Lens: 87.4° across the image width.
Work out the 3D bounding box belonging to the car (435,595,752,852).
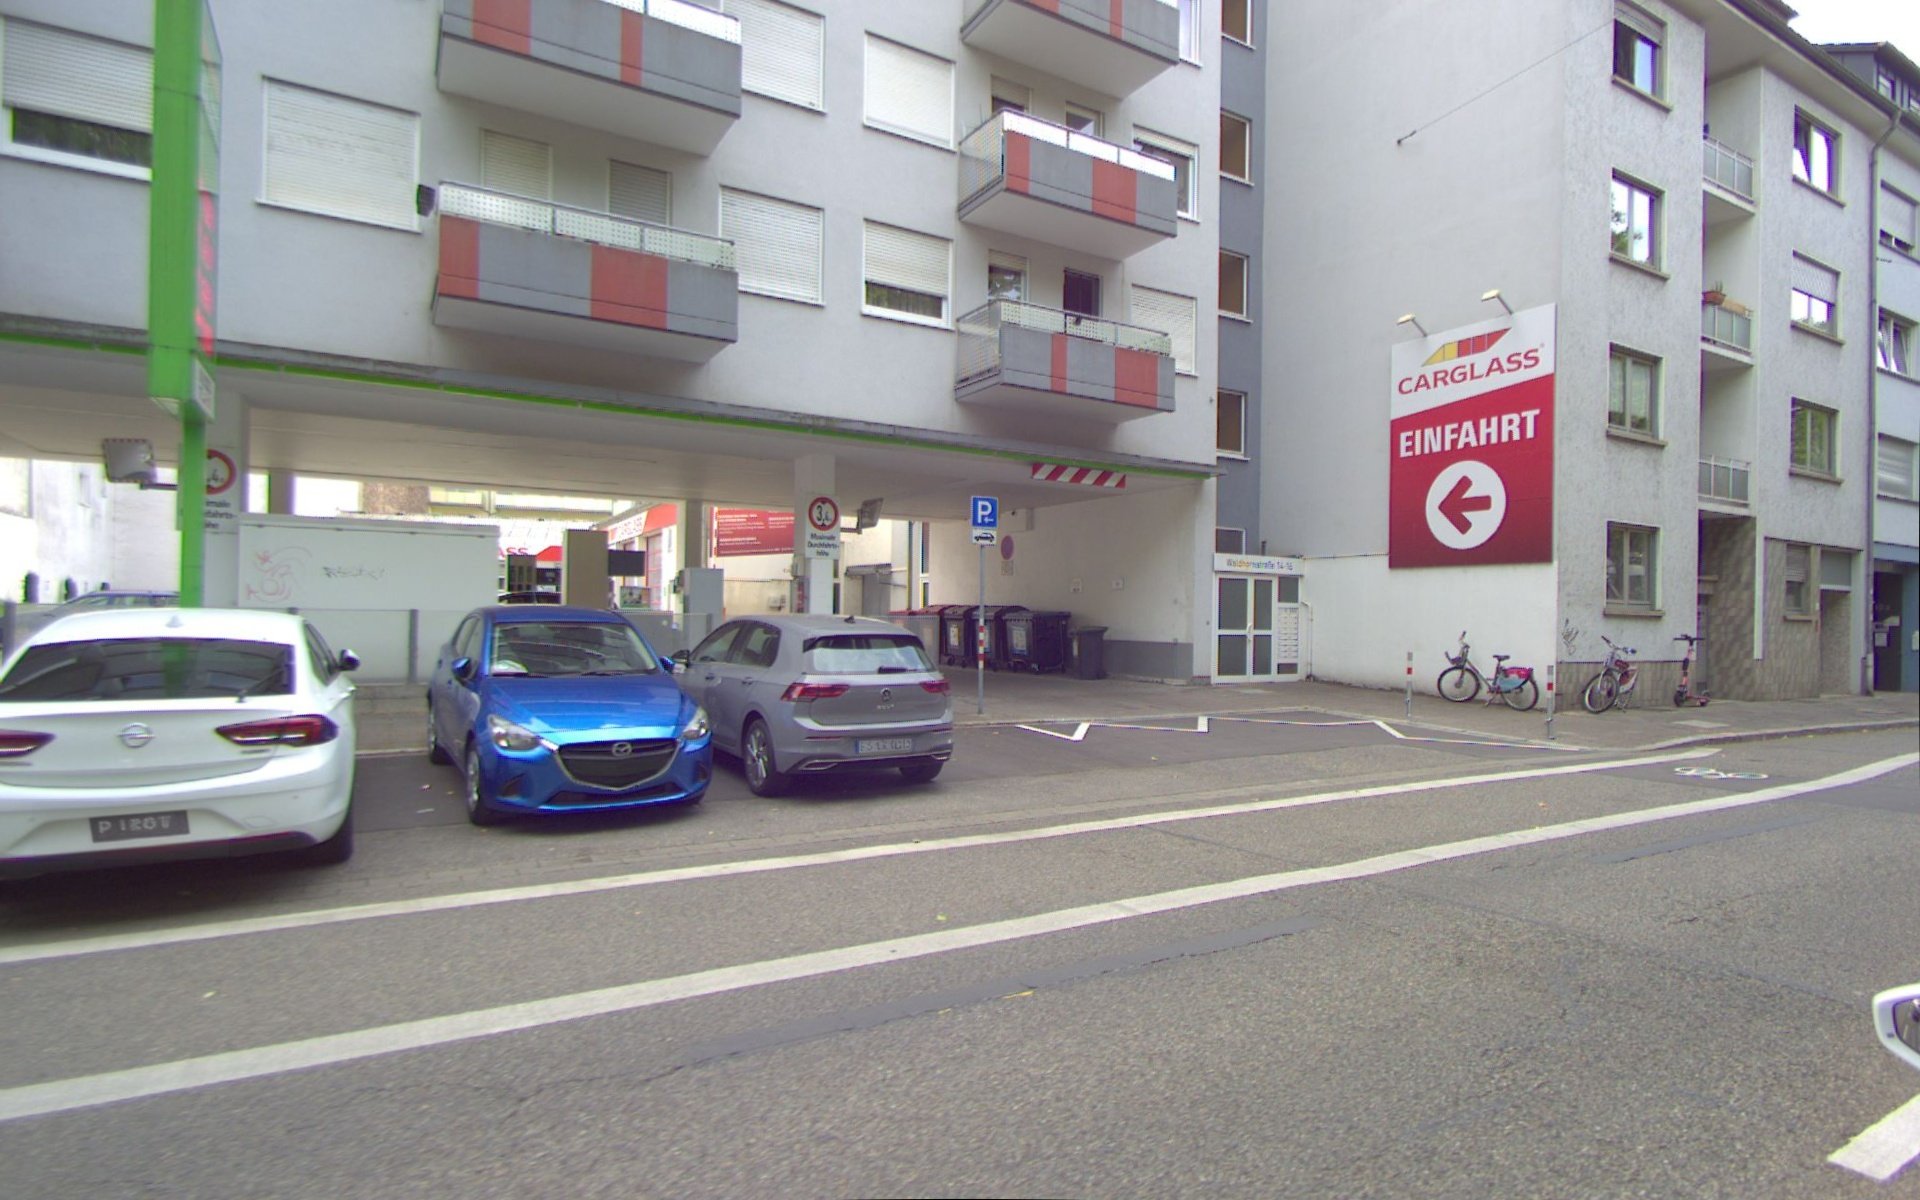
[{"bbox_3d":[-3.371,0.780,8.621,1.887,1.470,4.280,1,2,-29],"label":"car"}]

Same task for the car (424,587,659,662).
[{"bbox_3d":[-8.033,0.471,19.358,3.955,1.315,1.898,1,-1,-31],"label":"car"}]

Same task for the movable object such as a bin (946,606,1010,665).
[{"bbox_3d":[0.422,0.843,23.932,1.162,1.370,1.039,1,-1,-27],"label":"movable object such as a bin"}]

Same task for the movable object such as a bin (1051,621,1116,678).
[{"bbox_3d":[2.513,0.992,20.476,0.962,1.121,0.941,1,-1,-27],"label":"movable object such as a bin"}]

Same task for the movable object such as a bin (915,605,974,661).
[{"bbox_3d":[-0.396,0.824,25.227,1.162,1.370,1.039,1,-1,-27],"label":"movable object such as a bin"}]

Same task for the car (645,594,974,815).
[{"bbox_3d":[-1.693,0.791,9.809,1.815,1.534,4.131,1,2,-29],"label":"car"}]

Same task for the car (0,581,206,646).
[{"bbox_3d":[-21.890,0.345,25.376,4.317,1.542,1.830,1,0,-31],"label":"car"}]

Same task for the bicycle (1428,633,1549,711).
[{"bbox_3d":[8.581,1.143,16.387,0.448,1.132,1.763,1,0,-30],"label":"bicycle"}]

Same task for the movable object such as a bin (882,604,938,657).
[{"bbox_3d":[-1.334,0.803,26.763,1.162,1.370,1.039,1,-1,-27],"label":"movable object such as a bin"}]

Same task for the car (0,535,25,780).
[{"bbox_3d":[-7.392,0.483,5.845,1.901,1.873,4.191,1,2,-29],"label":"car"}]

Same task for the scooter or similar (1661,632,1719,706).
[{"bbox_3d":[12.750,1.192,17.533,1.188,1.238,0.348,1,0,-31],"label":"scooter or similar"}]

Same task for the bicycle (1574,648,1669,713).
[{"bbox_3d":[10.546,1.261,15.997,1.643,0.963,0.594,1,0,-31],"label":"bicycle"}]

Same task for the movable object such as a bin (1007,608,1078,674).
[{"bbox_3d":[1.782,0.874,21.758,1.162,1.370,1.039,1,-1,-27],"label":"movable object such as a bin"}]

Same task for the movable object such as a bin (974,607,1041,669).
[{"bbox_3d":[1.086,0.857,22.918,1.162,1.370,1.039,1,-1,-27],"label":"movable object such as a bin"}]

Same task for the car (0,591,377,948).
[{"bbox_3d":[-4.944,0.761,6.578,1.851,1.470,4.251,1,2,-29],"label":"car"}]
